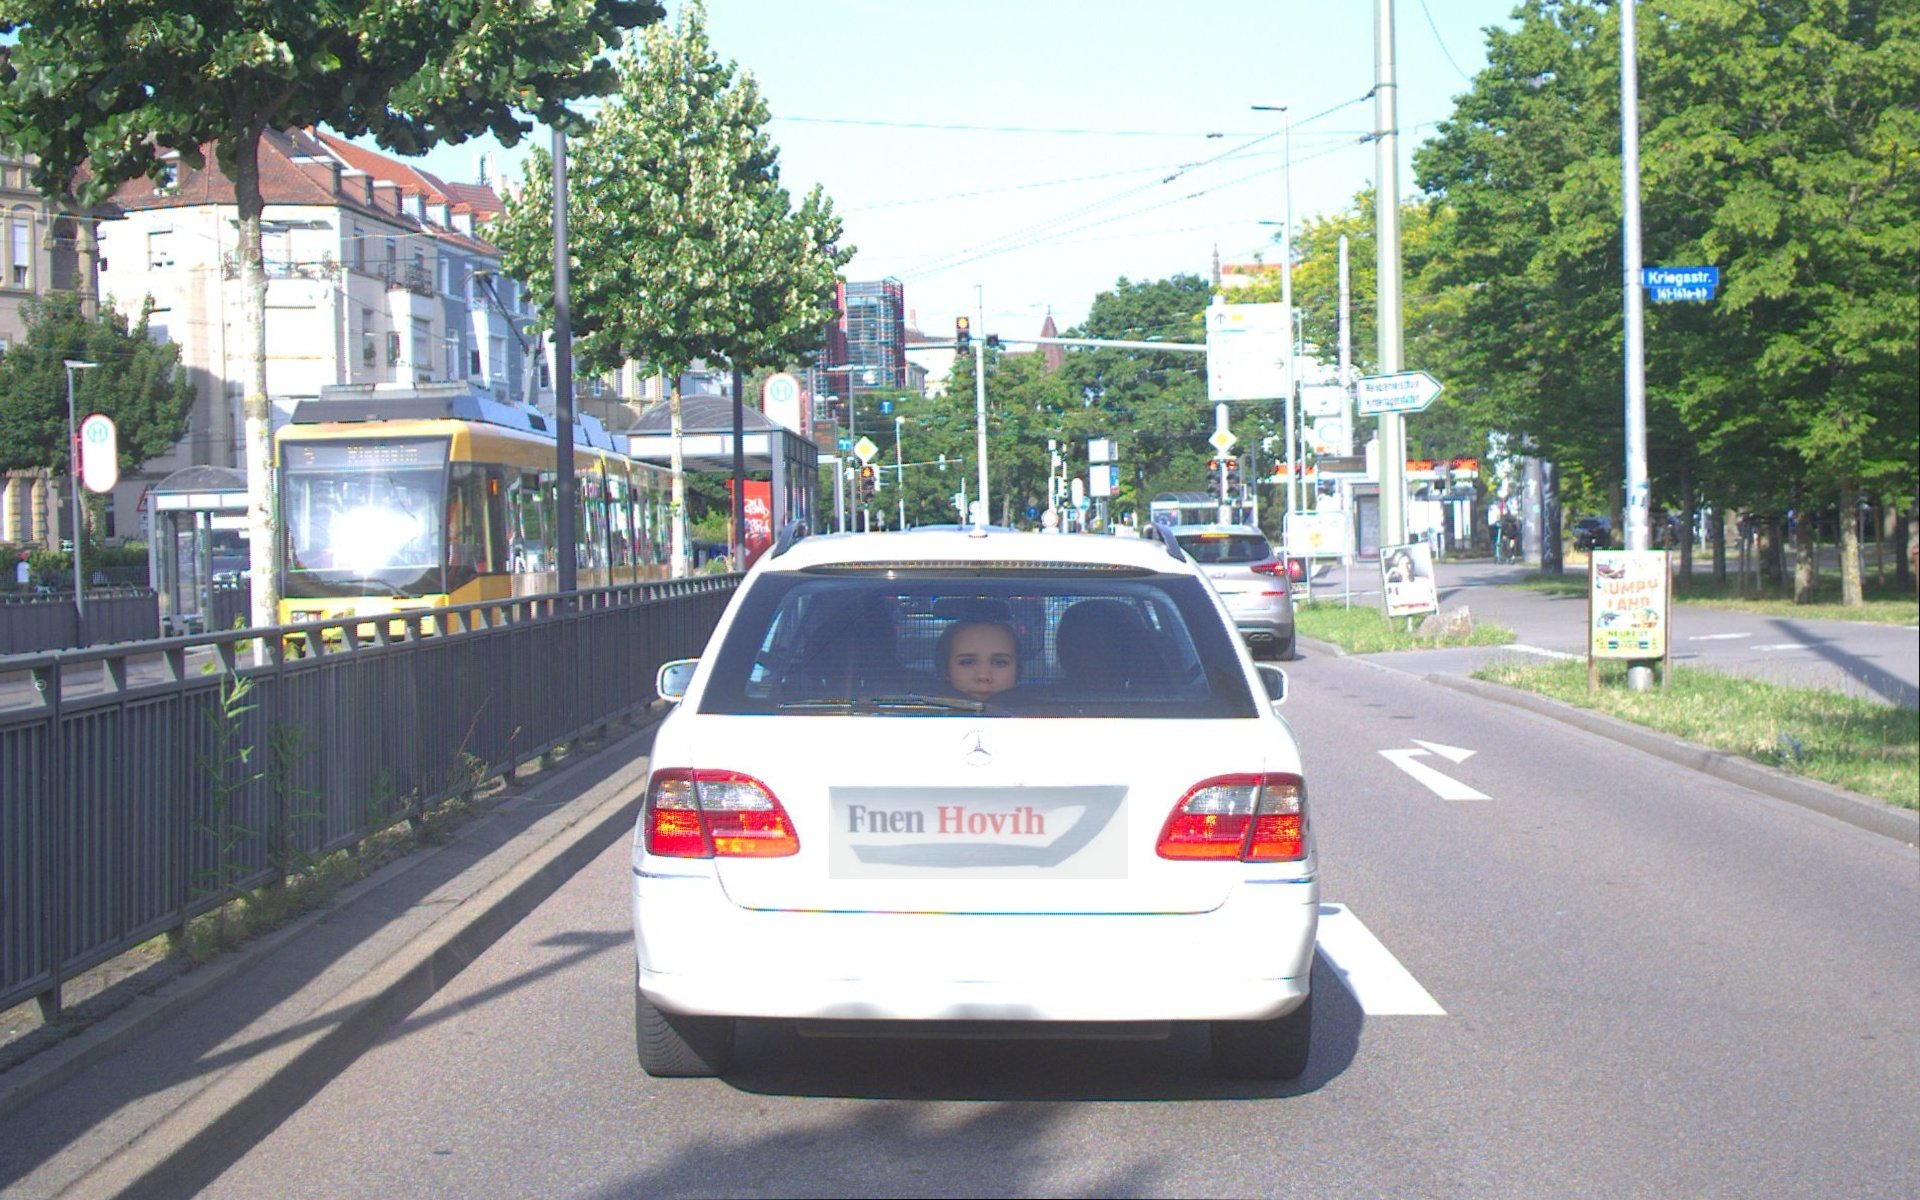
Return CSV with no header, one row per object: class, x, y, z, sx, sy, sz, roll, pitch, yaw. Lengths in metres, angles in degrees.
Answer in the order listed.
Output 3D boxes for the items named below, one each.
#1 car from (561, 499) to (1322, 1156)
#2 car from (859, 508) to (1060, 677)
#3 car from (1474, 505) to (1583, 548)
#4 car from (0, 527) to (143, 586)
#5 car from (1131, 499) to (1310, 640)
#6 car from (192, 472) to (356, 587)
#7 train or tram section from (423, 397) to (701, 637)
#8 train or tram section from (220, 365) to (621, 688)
car,0.049,0.573,10.056,1.758,1.498,3.999,1,-1,3
car,0.051,-0.129,36.573,1.787,1.684,4.000,-1,1,5
car,23.635,-3.040,142.923,3.992,1.645,1.997,-1,1,26
car,-26.120,-1.281,99.884,2.206,1.622,4.711,0,2,24
car,3.154,-0.402,41.454,2.033,1.600,4.000,-1,1,5
car,-17.152,-1.797,86.378,2.596,2.725,7.469,-1,1,0
train or tram section,-6.301,-1.379,56.696,2.849,3.467,13.200,-1,1,1
train or tram section,-6.457,-0.987,43.609,2.849,3.467,13.201,0,2,1
